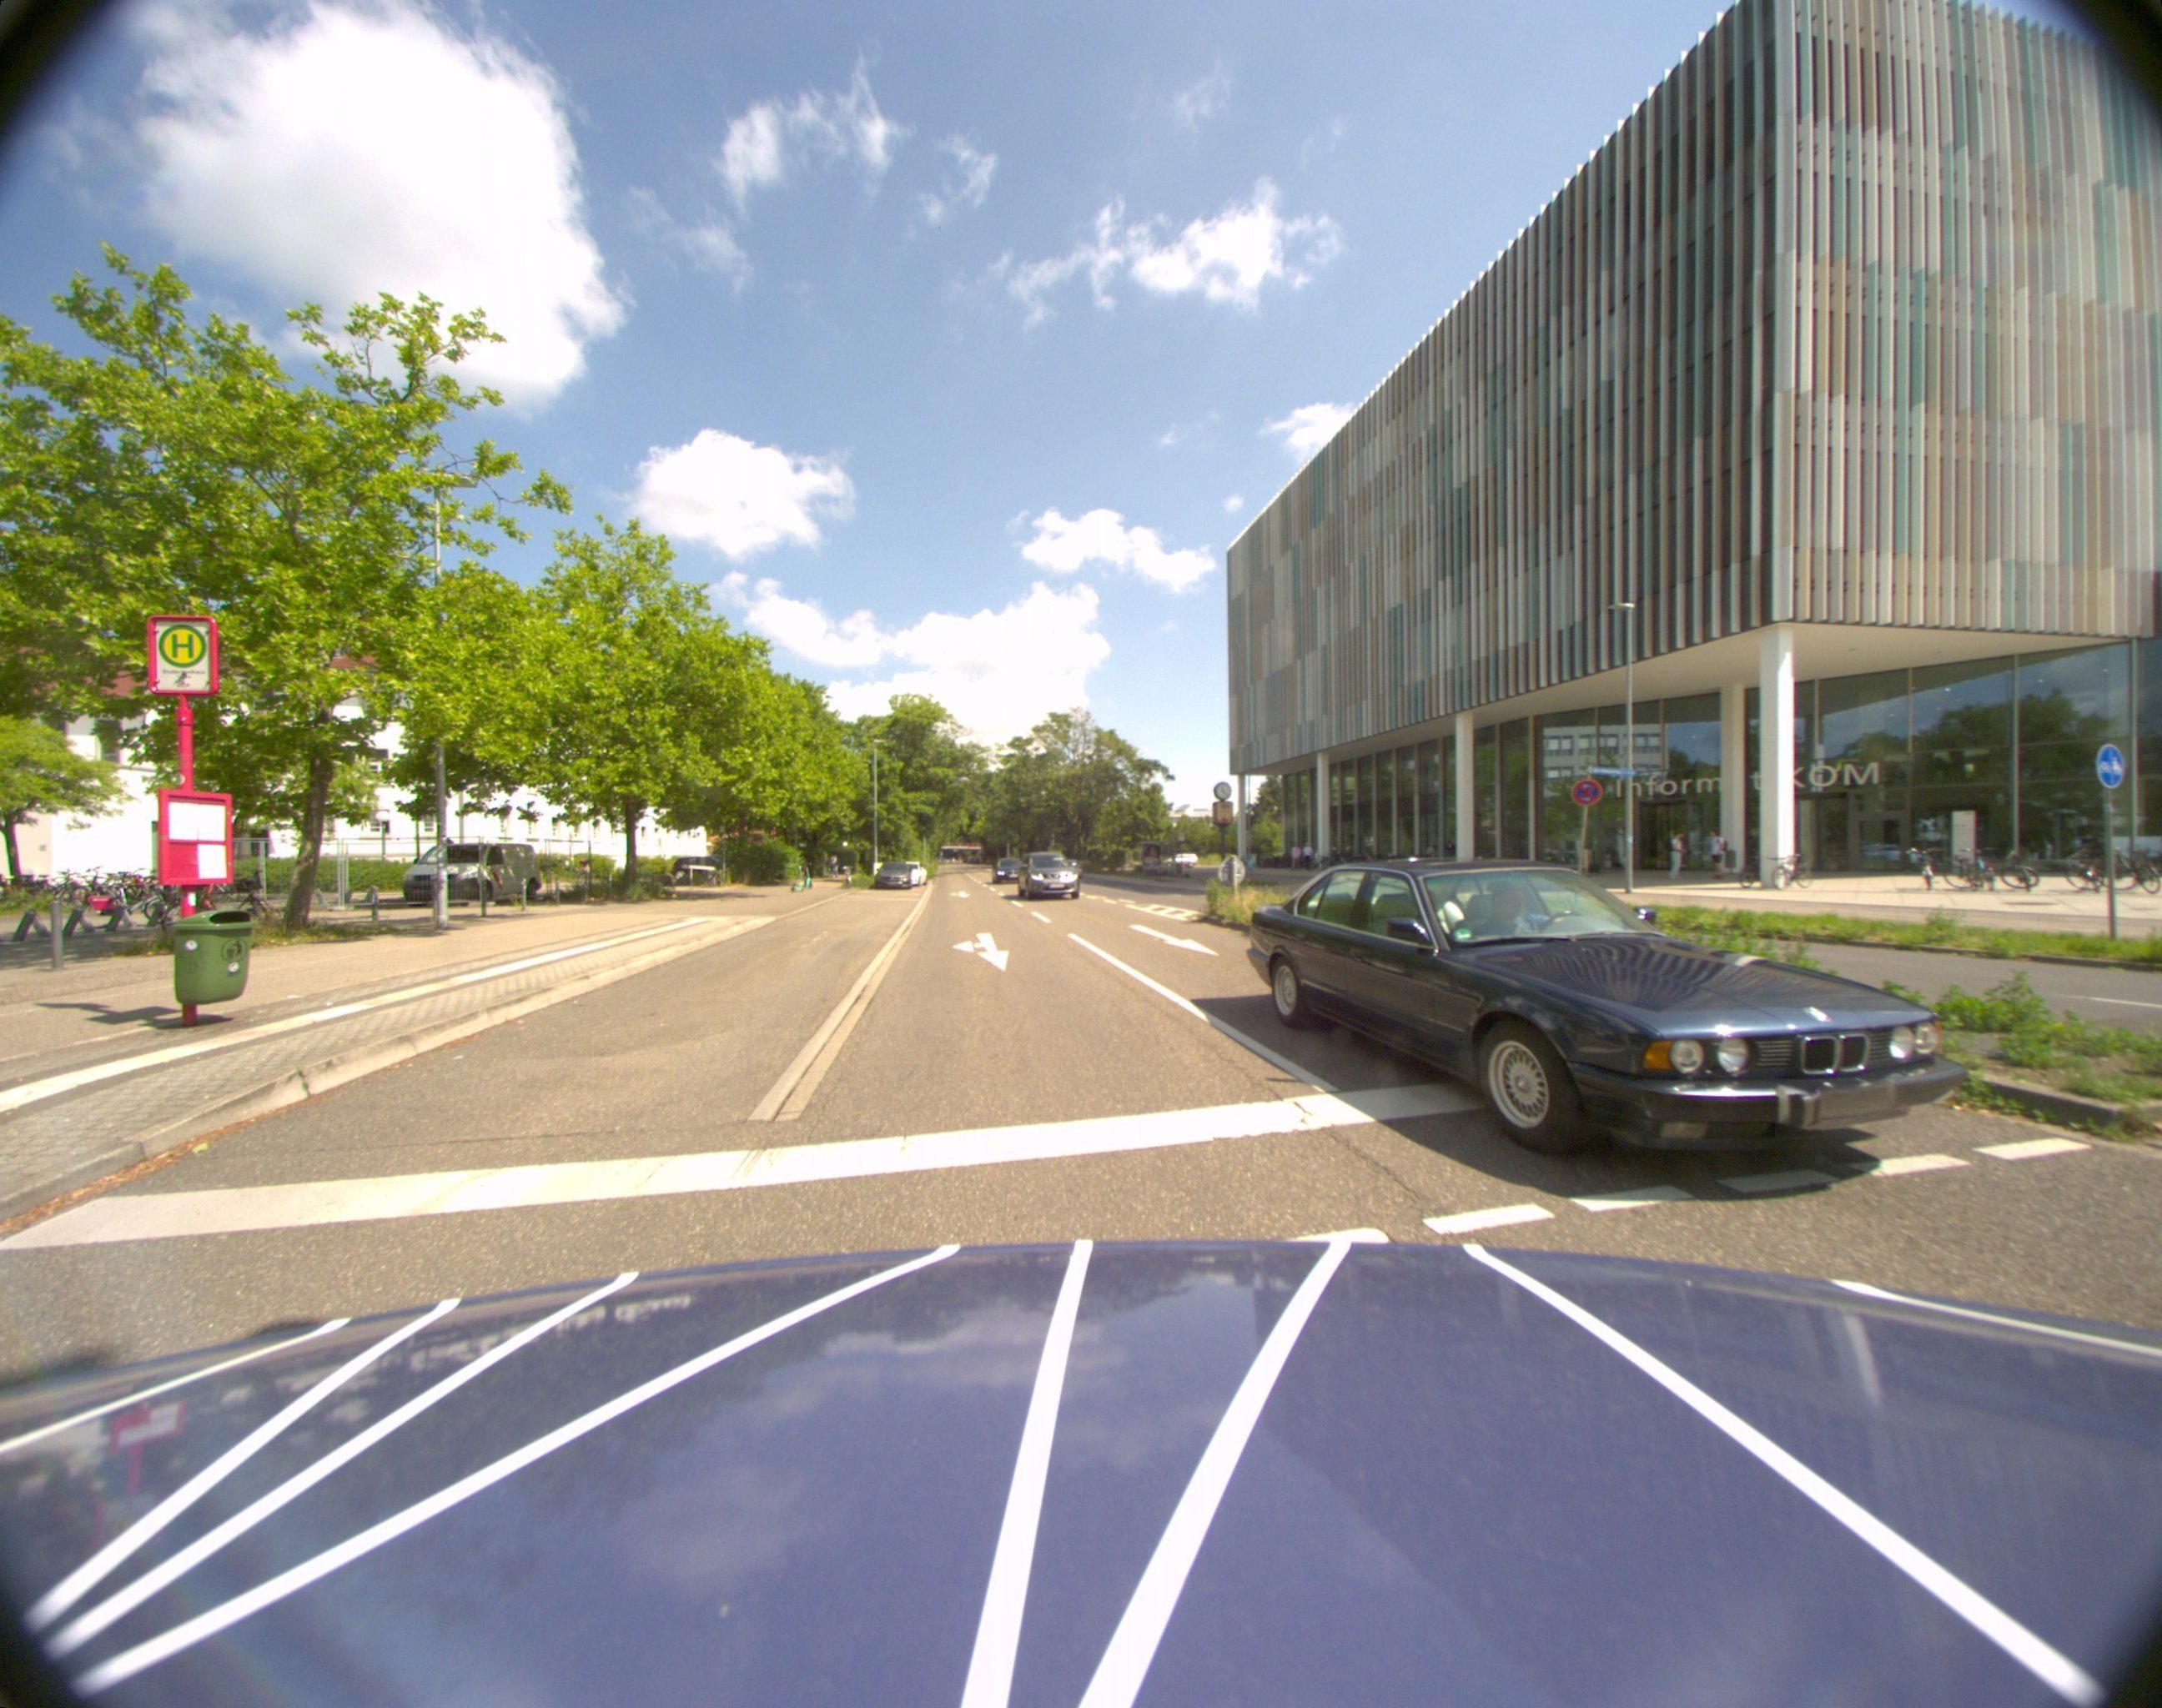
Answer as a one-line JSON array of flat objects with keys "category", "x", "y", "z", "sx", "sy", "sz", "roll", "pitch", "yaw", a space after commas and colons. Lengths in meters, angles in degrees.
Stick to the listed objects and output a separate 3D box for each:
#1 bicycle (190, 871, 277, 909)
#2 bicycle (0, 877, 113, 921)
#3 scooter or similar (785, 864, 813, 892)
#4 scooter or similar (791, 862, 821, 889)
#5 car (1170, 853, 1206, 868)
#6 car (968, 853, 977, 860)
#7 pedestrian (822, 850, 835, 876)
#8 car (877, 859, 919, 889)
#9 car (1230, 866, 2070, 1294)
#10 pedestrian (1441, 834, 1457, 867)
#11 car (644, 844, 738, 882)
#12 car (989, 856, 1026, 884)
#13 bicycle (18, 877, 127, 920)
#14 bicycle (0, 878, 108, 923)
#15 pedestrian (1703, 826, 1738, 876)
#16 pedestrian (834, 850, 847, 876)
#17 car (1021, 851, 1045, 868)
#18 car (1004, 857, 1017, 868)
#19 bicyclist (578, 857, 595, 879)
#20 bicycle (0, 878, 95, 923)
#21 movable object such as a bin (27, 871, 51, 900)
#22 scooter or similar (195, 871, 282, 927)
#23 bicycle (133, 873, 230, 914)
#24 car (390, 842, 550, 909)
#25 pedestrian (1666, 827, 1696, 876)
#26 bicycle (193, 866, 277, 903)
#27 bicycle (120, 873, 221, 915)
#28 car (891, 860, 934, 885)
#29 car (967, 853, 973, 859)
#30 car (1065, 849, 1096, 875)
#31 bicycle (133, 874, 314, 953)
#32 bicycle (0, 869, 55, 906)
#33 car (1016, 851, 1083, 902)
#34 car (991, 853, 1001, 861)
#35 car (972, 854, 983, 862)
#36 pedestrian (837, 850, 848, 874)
[{"category": "bicycle", "x": -27.317, "y": 1.133, "z": 24.524, "sx": 1.771, "sy": 1.092, "sz": 0.602, "roll": -3, "pitch": 2, "yaw": -41}, {"category": "bicycle", "x": -28.967, "y": 1.255, "z": 21.517, "sx": 1.771, "sy": 1.092, "sz": 0.602, "roll": -3, "pitch": 2, "yaw": -41}, {"category": "scooter or similar", "x": -12.306, "y": 1.041, "z": 33.167, "sx": 0.529, "sy": 1.162, "sz": 1.575, "roll": 1, "pitch": 0, "yaw": 3}, {"category": "scooter or similar", "x": -12.854, "y": 0.989, "z": 35.538, "sx": 0.528, "sy": 1.239, "sz": 1.291, "roll": 1, "pitch": 0, "yaw": 24}, {"category": "car", "x": 12.549, "y": 0.753, "z": 89.349, "sx": 3.827, "sy": 1.502, "sz": 1.899, "roll": -3, "pitch": 1, "yaw": -5}, {"category": "car", "x": -25.418, "y": 0.620, "z": 178.030, "sx": 1.899, "sy": 1.502, "sz": 3.826, "roll": -3, "pitch": 1, "yaw": -5}, {"category": "pedestrian", "x": -17.858, "y": 0.650, "z": 53.819, "sx": 0.685, "sy": 1.770, "sz": 0.789, "roll": -3, "pitch": 2, "yaw": -27}, {"category": "car", "x": -9.699, "y": 1.039, "z": 40.506, "sx": 1.863, "sy": 1.470, "sz": 4.937, "roll": 1, "pitch": -1, "yaw": -10}, {"category": "car", "x": 2.661, "y": 0.846, "z": 5.115, "sx": 1.697, "sy": 1.378, "sz": 4.610, "roll": -2, "pitch": 0, "yaw": -10}, {"category": "pedestrian", "x": 20.705, "y": -0.182, "z": 42.786, "sx": 0.562, "sy": 1.831, "sz": 0.553, "roll": -2, "pitch": 1, "yaw": -18}, {"category": "car", "x": -20.825, "y": 0.462, "z": 40.736, "sx": 4.001, "sy": 1.773, "sz": 1.997, "roll": -3, "pitch": 1, "yaw": -13}, {"category": "car", "x": -4.182, "y": 0.888, "z": 43.864, "sx": 1.829, "sy": 1.407, "sz": 4.190, "roll": -2, "pitch": 0, "yaw": -2}, {"category": "bicycle", "x": -29.322, "y": 1.275, "z": 22.142, "sx": 1.771, "sy": 1.092, "sz": 0.602, "roll": -3, "pitch": 2, "yaw": -41}, {"category": "bicycle", "x": -28.454, "y": 1.255, "z": 21.009, "sx": 1.771, "sy": 1.092, "sz": 0.602, "roll": -3, "pitch": 2, "yaw": -41}, {"category": "pedestrian", "x": 23.991, "y": -0.129, "z": 28.512, "sx": 0.691, "sy": 1.831, "sz": 0.678, "roll": -2, "pitch": 1, "yaw": -3}, {"category": "pedestrian", "x": -17.146, "y": 0.639, "z": 54.124, "sx": 0.685, "sy": 1.770, "sz": 0.789, "roll": -3, "pitch": 2, "yaw": -28}, {"category": "car", "x": -5.310, "y": 0.570, "z": 83.593, "sx": 1.904, "sy": 1.801, "sz": 4.727, "roll": 0, "pitch": 0, "yaw": -12}, {"category": "car", "x": -10.875, "y": 1.300, "z": 117.461, "sx": 1.899, "sy": 1.502, "sz": 3.826, "roll": -3, "pitch": 1, "yaw": -5}, {"category": "bicyclist", "x": -29.237, "y": 0.818, "z": 44.912, "sx": 0.608, "sy": 1.313, "sz": 0.741, "roll": 0, "pitch": 1, "yaw": -15}, {"category": "bicycle", "x": -27.941, "y": 1.243, "z": 20.325, "sx": 1.771, "sy": 1.092, "sz": 0.602, "roll": -3, "pitch": 2, "yaw": -41}, {"category": "movable object such as a bin", "x": -39.144, "y": 1.180, "z": 28.544, "sx": 0.389, "sy": 1.049, "sz": 0.367, "roll": 0, "pitch": 1, "yaw": -15}, {"category": "scooter or similar", "x": -19.718, "y": 1.038, "z": 17.799, "sx": 1.300, "sy": 1.226, "sz": 0.280, "roll": -2, "pitch": 3, "yaw": -25}, {"category": "bicycle", "x": -27.285, "y": 1.171, "z": 23.096, "sx": 1.771, "sy": 1.092, "sz": 0.602, "roll": -3, "pitch": 2, "yaw": -41}, {"category": "car", "x": -19.040, "y": 0.590, "z": 24.029, "sx": 1.904, "sy": 1.854, "sz": 4.935, "roll": -2, "pitch": 1, "yaw": -13}, {"category": "pedestrian", "x": 22.880, "y": -0.098, "z": 28.976, "sx": 0.787, "sy": 1.831, "sz": 0.518, "roll": -1, "pitch": 1, "yaw": 24}, {"category": "bicycle", "x": -28.267, "y": 1.003, "z": 25.416, "sx": 1.771, "sy": 1.092, "sz": 0.602, "roll": -3, "pitch": 2, "yaw": -41}, {"category": "bicycle", "x": -26.635, "y": 1.155, "z": 22.274, "sx": 1.771, "sy": 1.092, "sz": 0.602, "roll": -3, "pitch": 2, "yaw": -41}, {"category": "car", "x": -10.090, "y": 1.074, "z": 45.782, "sx": 1.743, "sy": 1.442, "sz": 4.940, "roll": 1, "pitch": -1, "yaw": -3}, {"category": "car", "x": -32.554, "y": 0.617, "z": 222.216, "sx": 1.758, "sy": 1.502, "sz": 3.825, "roll": -3, "pitch": 1, "yaw": -8}, {"category": "car", "x": -0.086, "y": 0.589, "z": 56.421, "sx": 1.730, "sy": 1.800, "sz": 4.730, "roll": 1, "pitch": -1, "yaw": -6}, {"category": "bicycle", "x": -14.892, "y": 0.984, "z": 13.303, "sx": 0.799, "sy": 1.176, "sz": 2.031, "roll": -2, "pitch": 1, "yaw": 1}, {"category": "bicycle", "x": -33.283, "y": 1.053, "z": 23.458, "sx": 1.771, "sy": 1.092, "sz": 0.602, "roll": -3, "pitch": 2, "yaw": -41}, {"category": "car", "x": -1.243, "y": 0.740, "z": 27.791, "sx": 1.825, "sy": 1.669, "sz": 4.474, "roll": -2, "pitch": 0, "yaw": -10}, {"category": "car", "x": -17.428, "y": 0.610, "z": 156.140, "sx": 1.899, "sy": 1.502, "sz": 3.826, "roll": -3, "pitch": 1, "yaw": -5}, {"category": "car", "x": -21.474, "y": 0.766, "z": 157.496, "sx": 1.899, "sy": 1.502, "sz": 3.826, "roll": -3, "pitch": 1, "yaw": -5}, {"category": "pedestrian", "x": -17.757, "y": 0.573, "z": 56.493, "sx": 0.684, "sy": 1.770, "sz": 0.790, "roll": -3, "pitch": 1, "yaw": -17}]
